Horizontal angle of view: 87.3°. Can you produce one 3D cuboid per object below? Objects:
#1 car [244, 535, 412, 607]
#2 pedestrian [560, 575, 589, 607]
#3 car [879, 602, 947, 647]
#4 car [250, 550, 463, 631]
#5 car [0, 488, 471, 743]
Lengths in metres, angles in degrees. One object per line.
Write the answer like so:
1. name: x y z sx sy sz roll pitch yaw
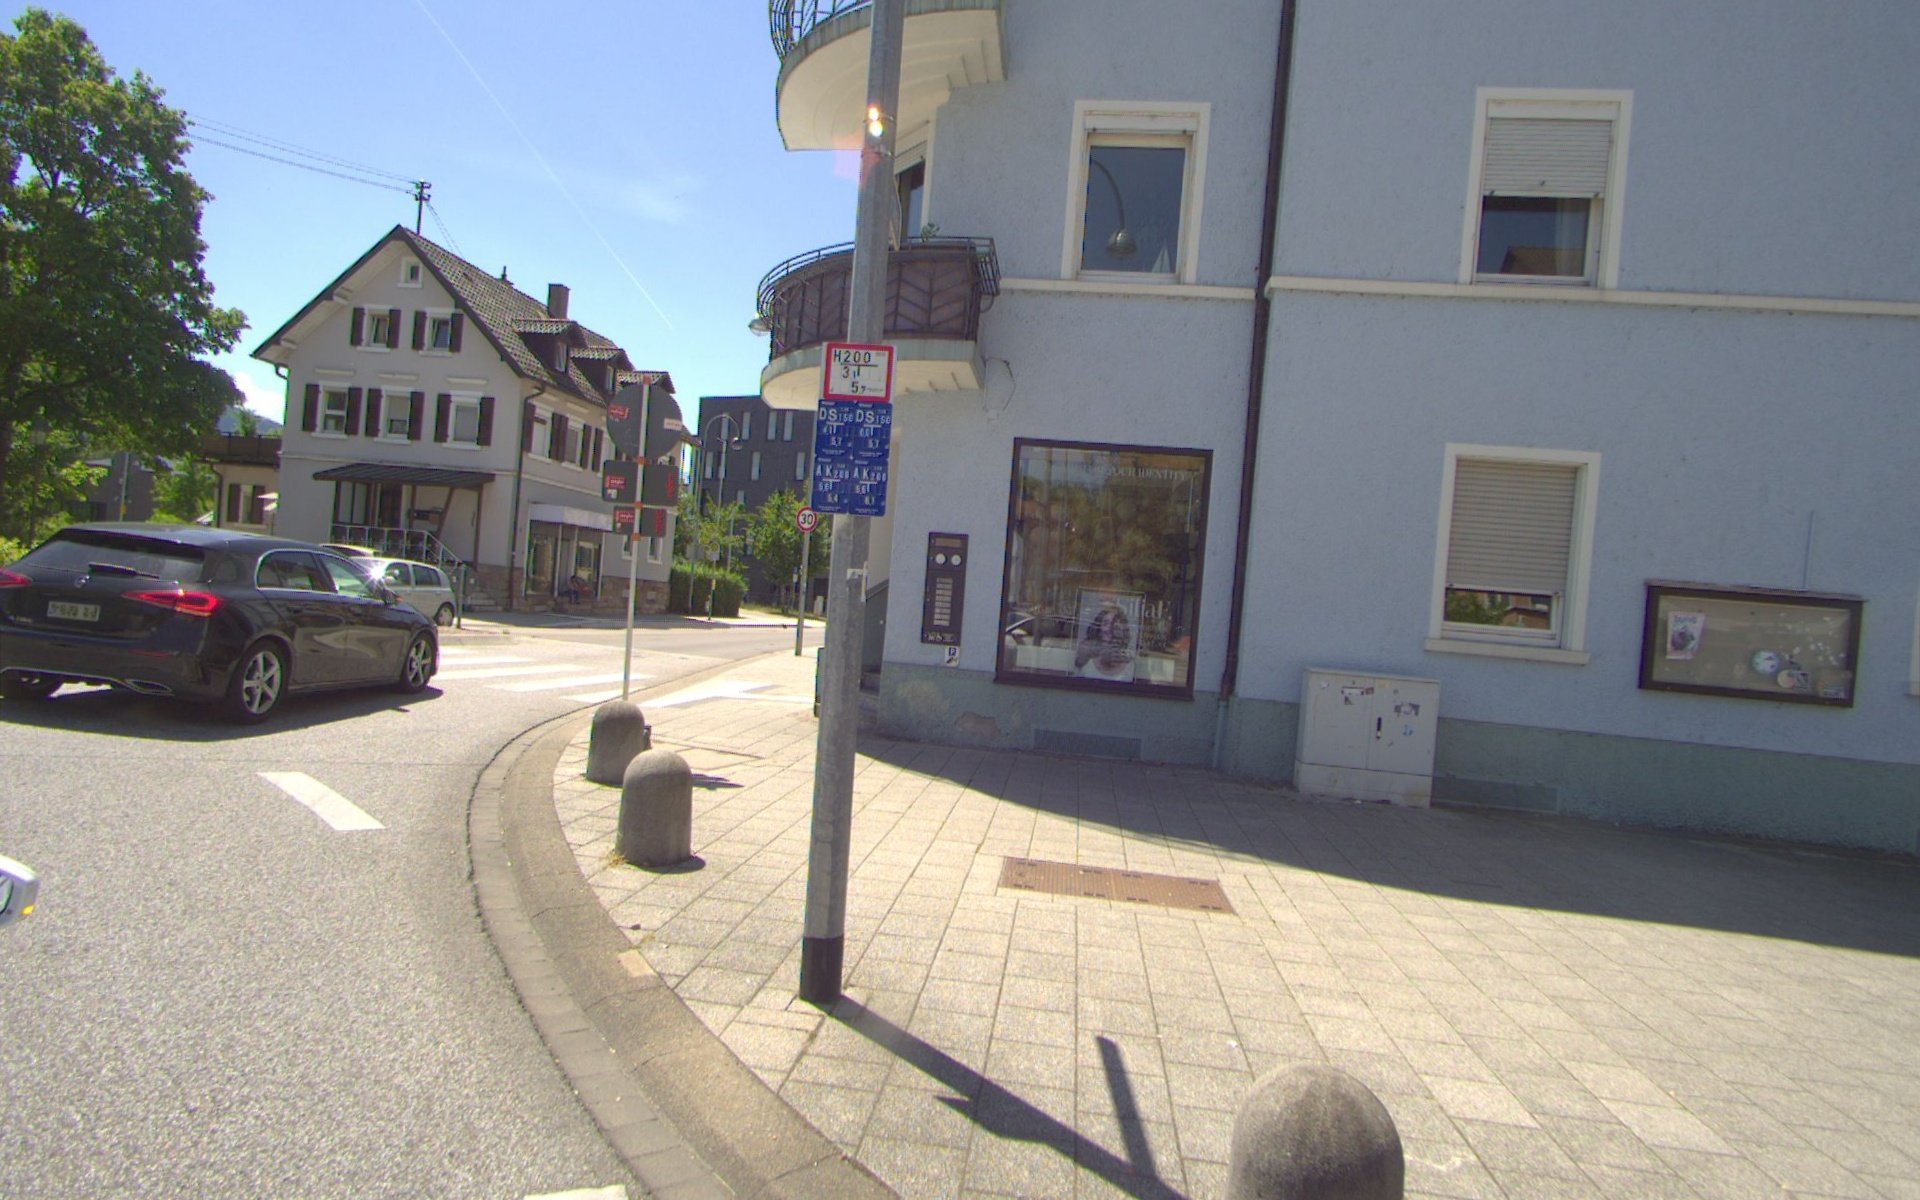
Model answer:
1. car: -18.518 -0.838 29.554 3.923 1.660 1.758 6 0 10
2. pedestrian: -13.745 -0.308 35.879 0.659 1.068 0.700 5 1 5
3. car: -1.744 0.948 38.578 1.722 1.504 4.002 4 -1 10
4. car: -11.789 -0.131 19.956 1.520 1.430 3.720 1 -1 11
5. car: -6.180 0.074 8.901 1.738 1.474 4.433 9 0 -6
